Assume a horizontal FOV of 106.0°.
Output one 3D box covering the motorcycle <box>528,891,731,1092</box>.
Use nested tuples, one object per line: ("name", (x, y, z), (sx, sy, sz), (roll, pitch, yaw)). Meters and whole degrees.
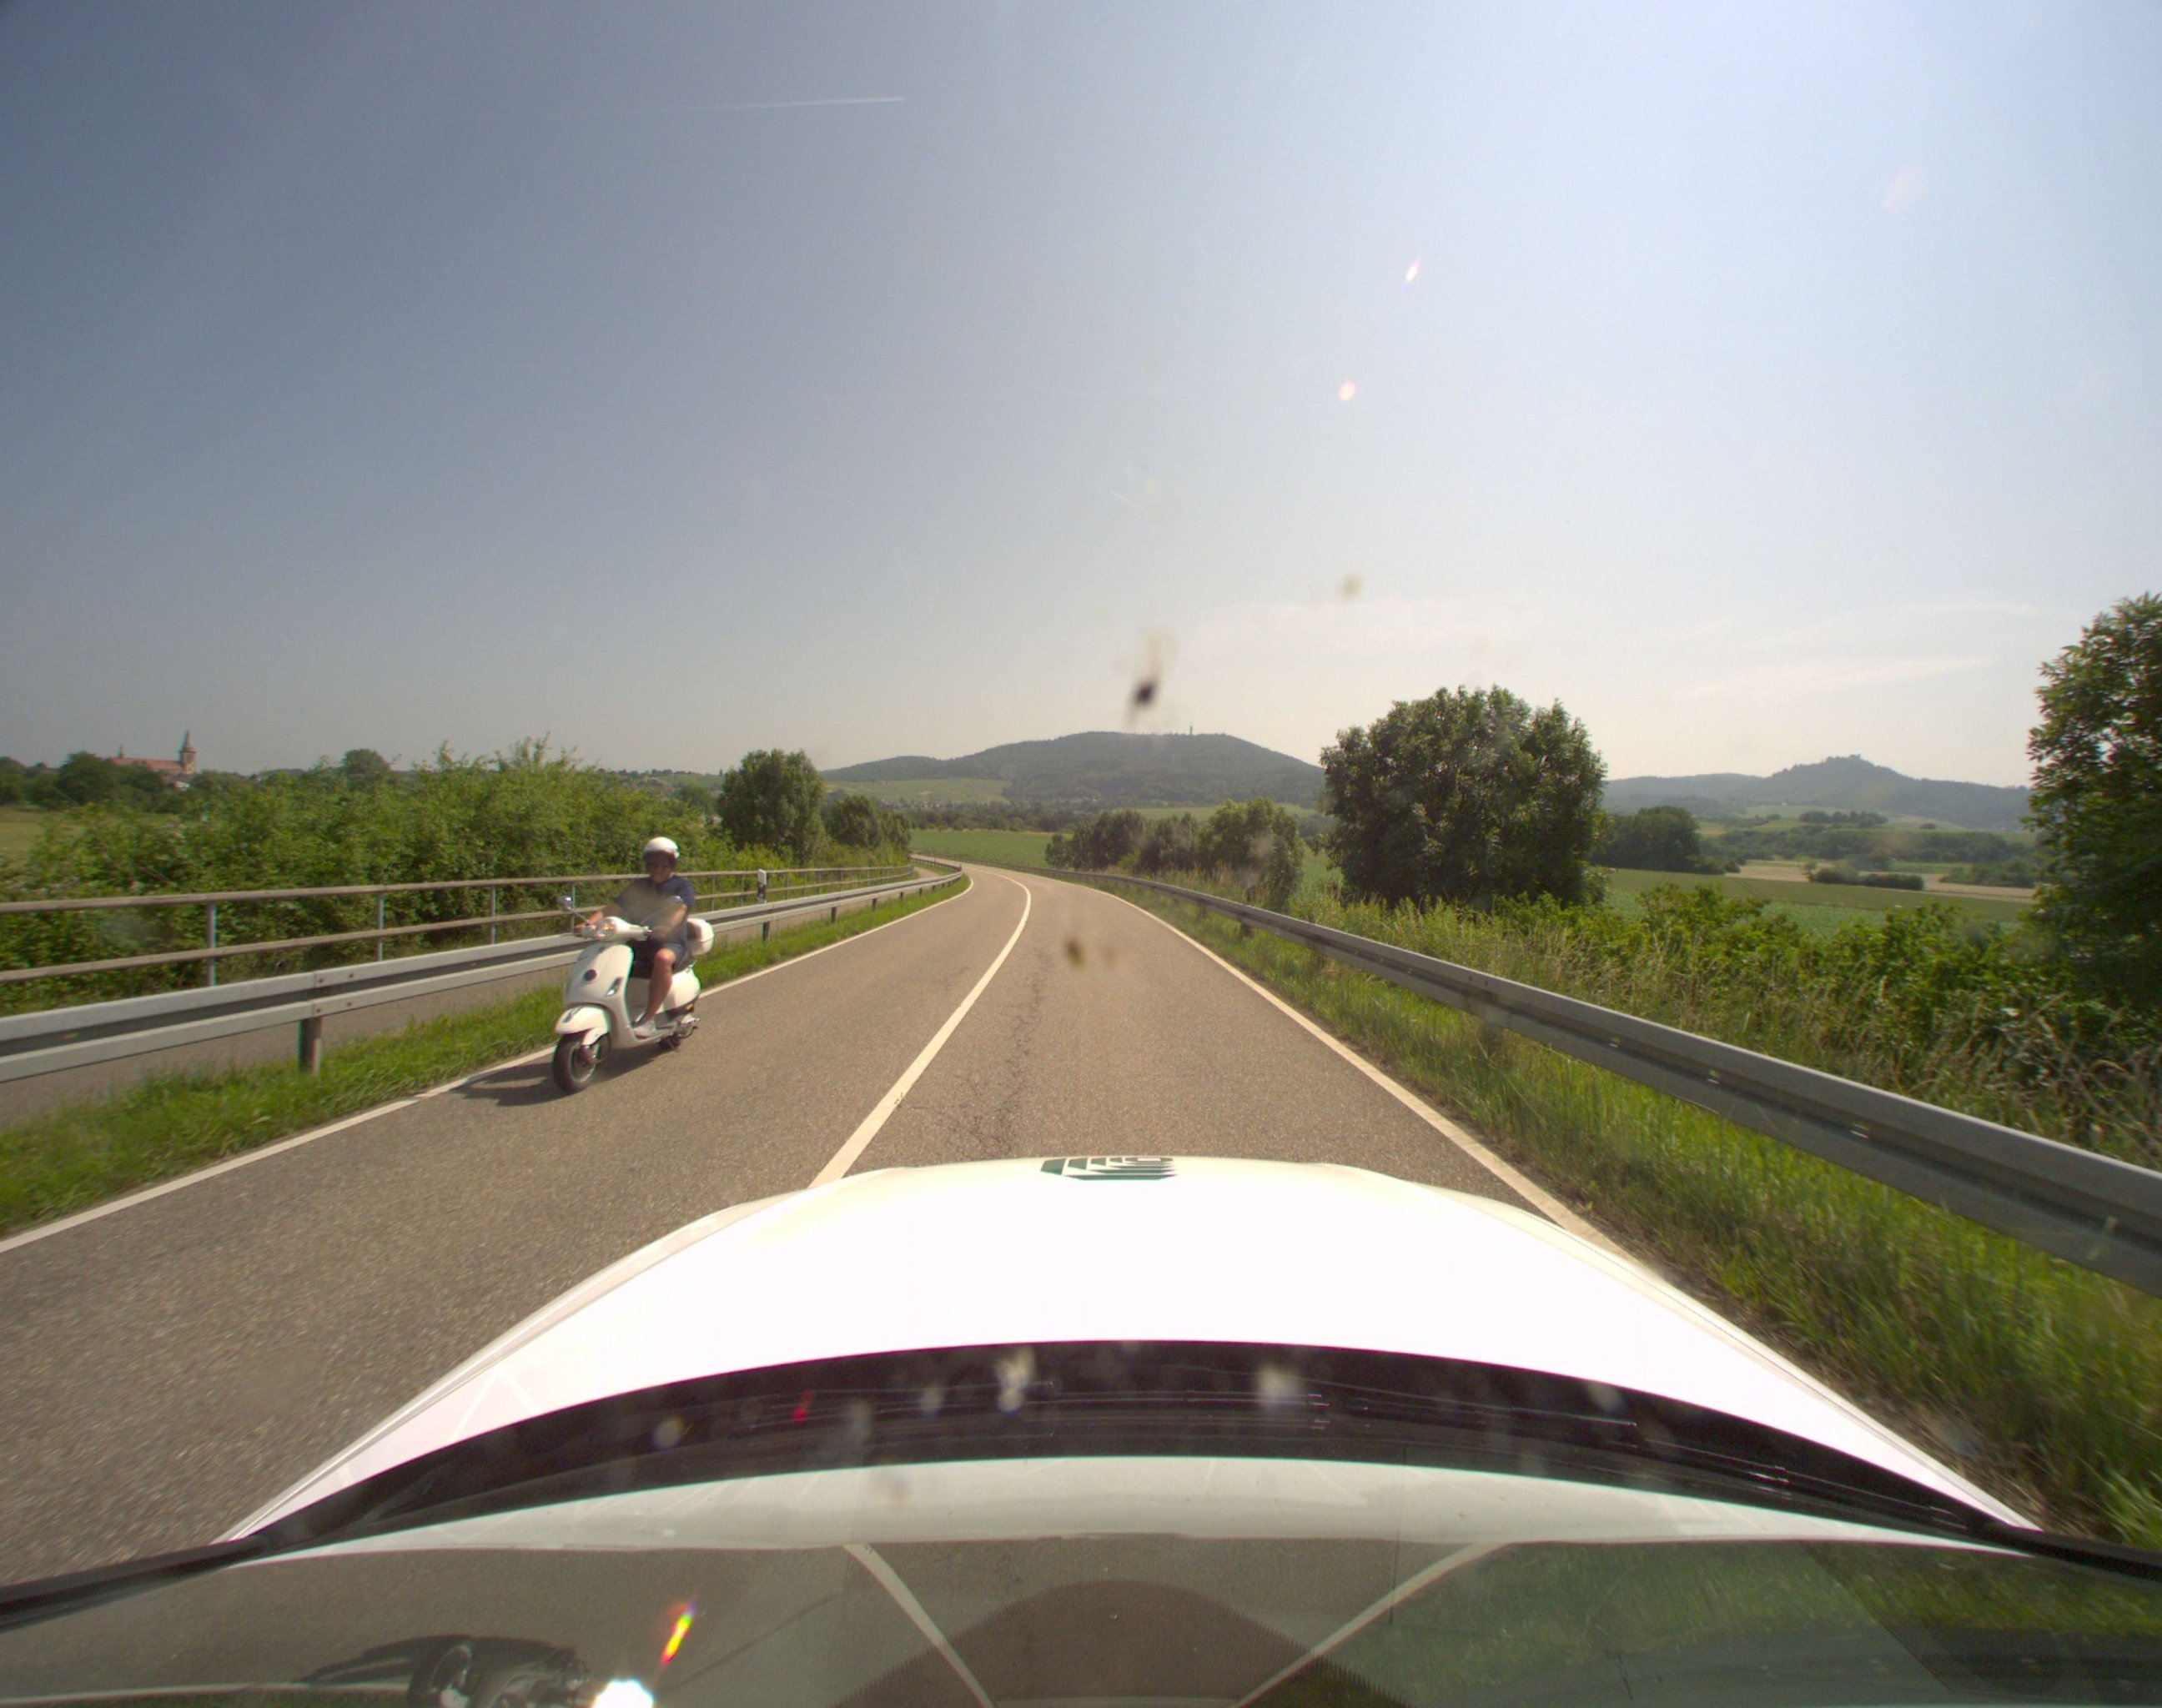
("motorcycle", (-3.297, 0.933, 6.130), (0.641, 1.223, 1.637), (-1, 0, -2))

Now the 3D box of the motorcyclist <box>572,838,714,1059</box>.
("motorcyclist", (-3.293, 0.669, 6.186), (0.652, 1.562, 0.775), (-1, 0, -2))
